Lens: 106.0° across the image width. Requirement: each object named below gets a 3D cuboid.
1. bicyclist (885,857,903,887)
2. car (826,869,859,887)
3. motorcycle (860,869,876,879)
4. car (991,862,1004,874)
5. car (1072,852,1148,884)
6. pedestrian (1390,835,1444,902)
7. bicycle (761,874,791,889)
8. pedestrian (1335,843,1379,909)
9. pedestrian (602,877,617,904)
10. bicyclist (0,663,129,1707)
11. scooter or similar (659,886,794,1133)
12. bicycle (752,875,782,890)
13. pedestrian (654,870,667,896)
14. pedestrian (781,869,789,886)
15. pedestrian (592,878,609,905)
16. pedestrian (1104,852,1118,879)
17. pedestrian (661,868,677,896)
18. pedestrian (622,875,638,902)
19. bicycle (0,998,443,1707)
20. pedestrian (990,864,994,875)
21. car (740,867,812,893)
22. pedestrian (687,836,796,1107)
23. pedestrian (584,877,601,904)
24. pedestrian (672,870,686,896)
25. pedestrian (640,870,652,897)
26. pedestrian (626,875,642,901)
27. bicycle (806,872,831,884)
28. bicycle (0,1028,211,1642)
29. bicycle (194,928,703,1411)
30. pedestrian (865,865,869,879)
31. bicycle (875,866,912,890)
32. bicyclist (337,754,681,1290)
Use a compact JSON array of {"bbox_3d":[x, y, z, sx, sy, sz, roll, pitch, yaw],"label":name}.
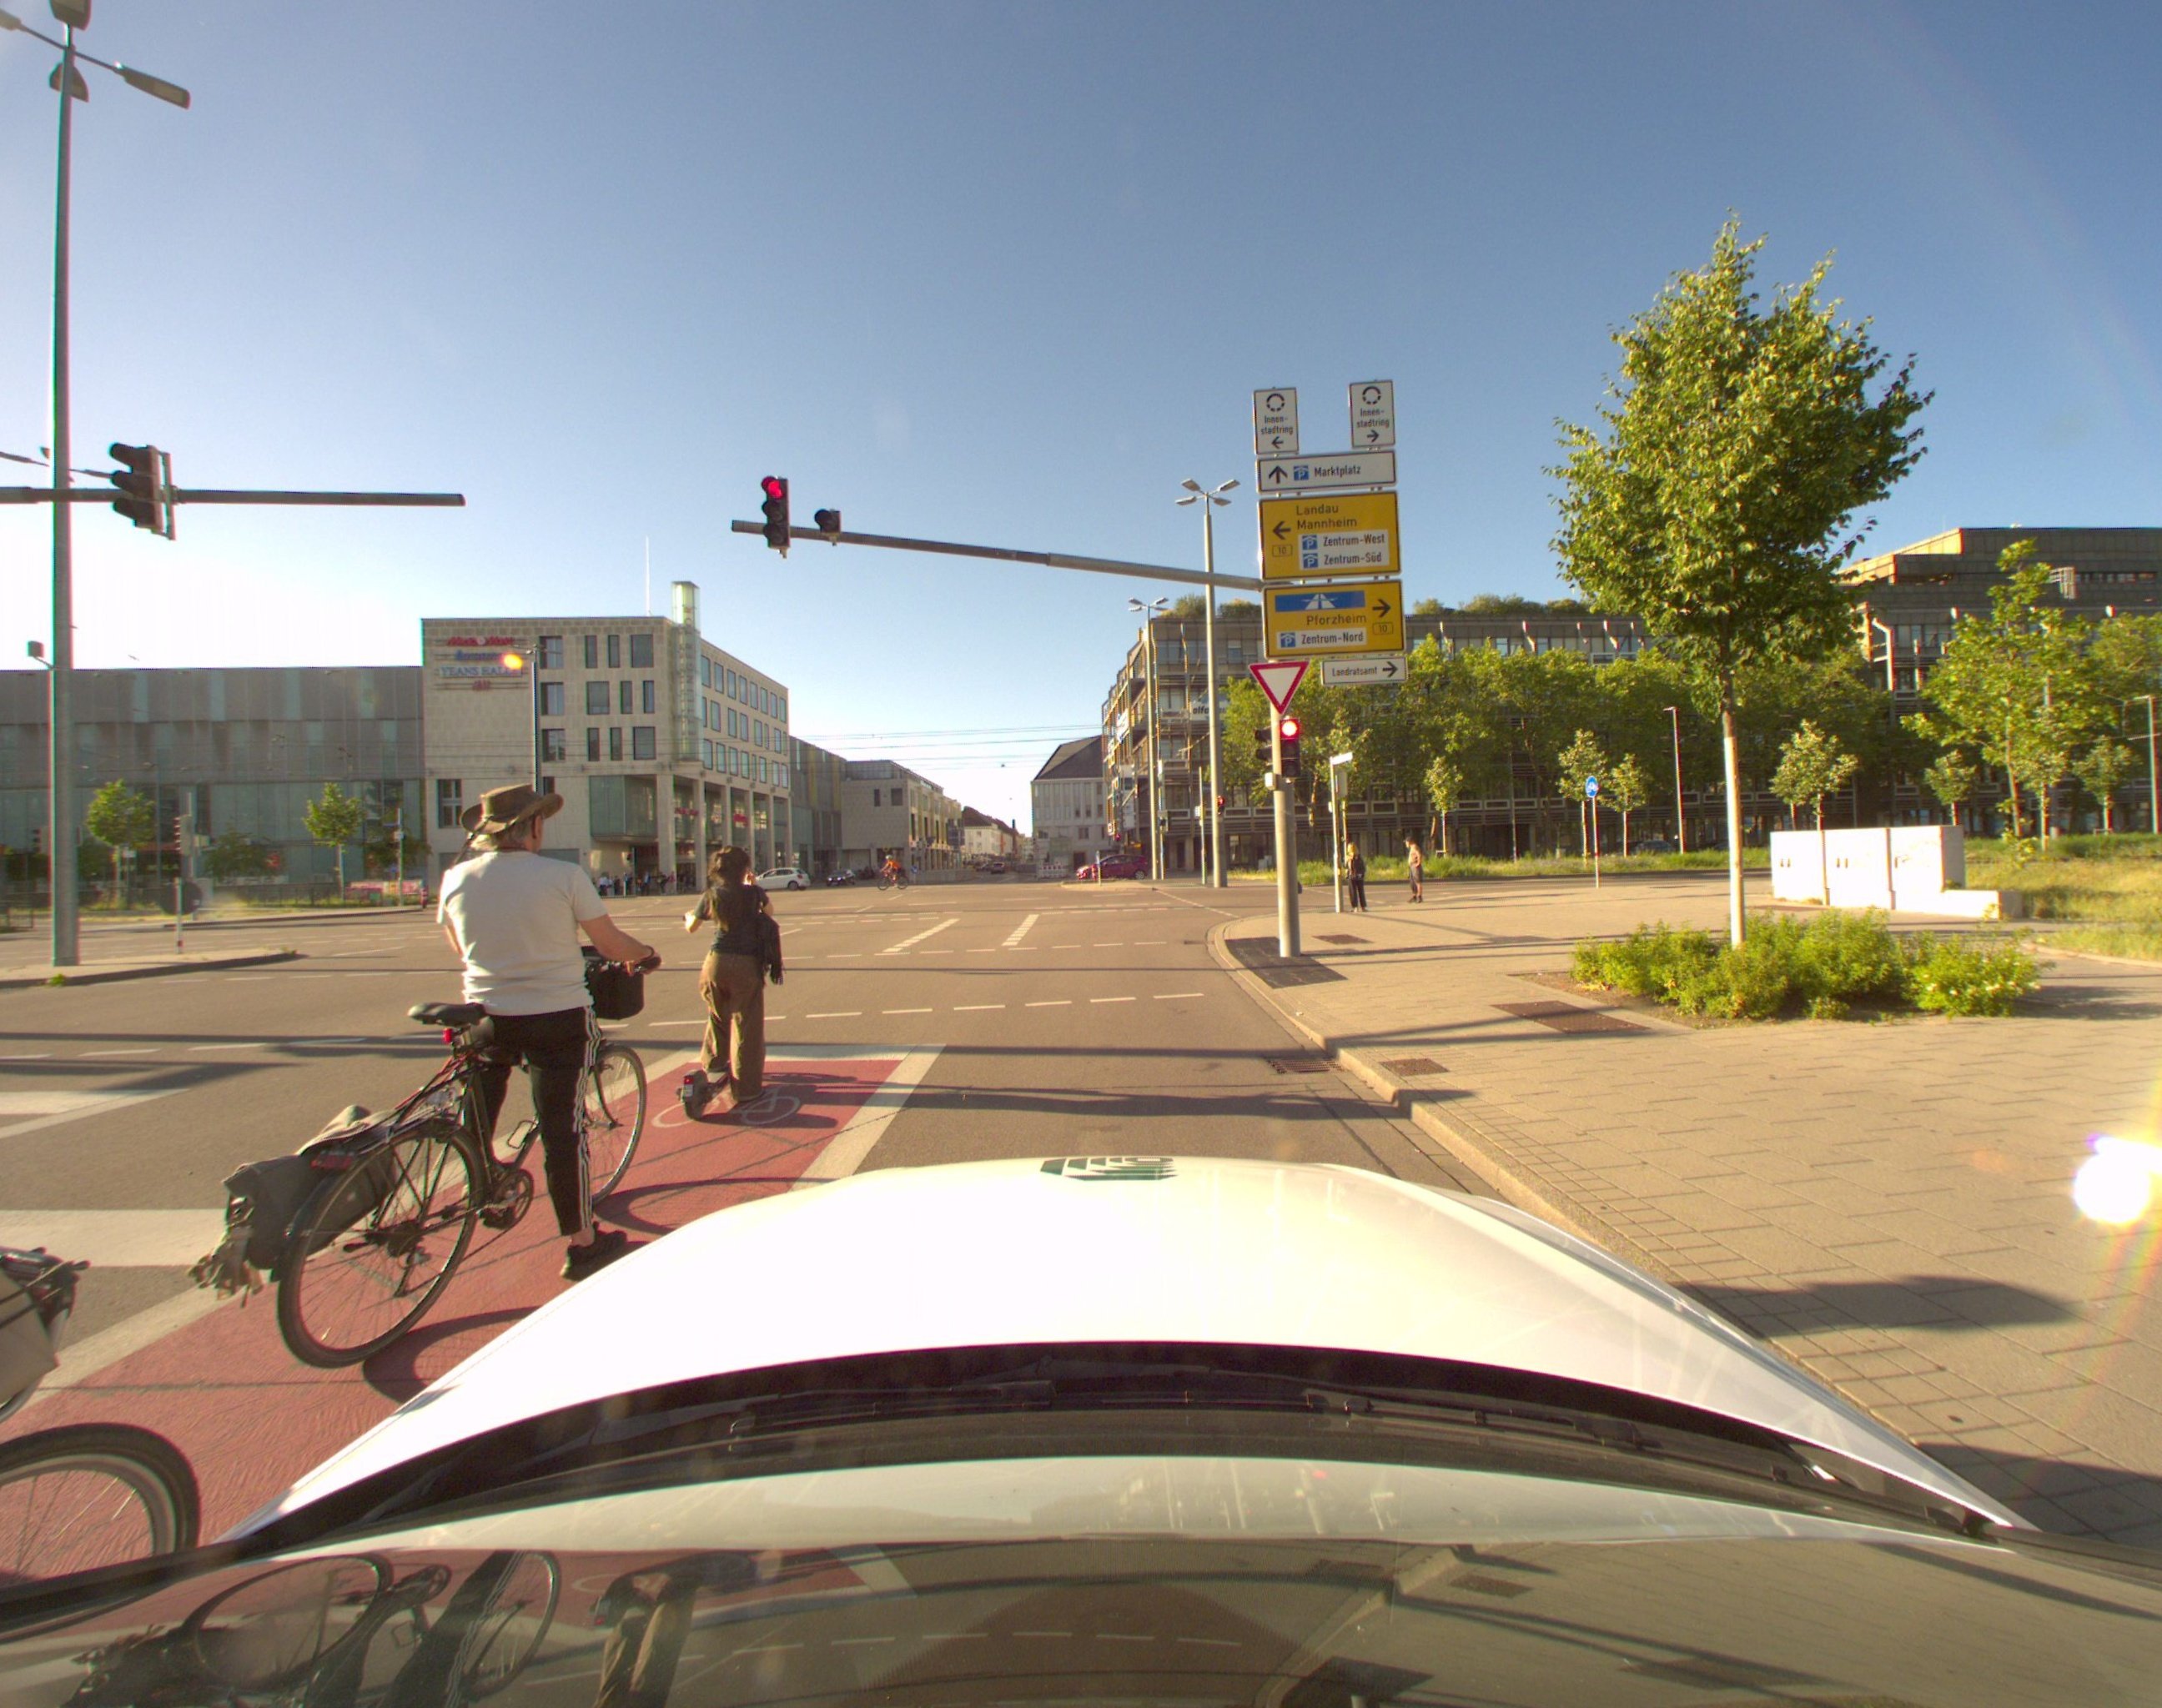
[{"bbox_3d":[-9.106,0.862,39.609,0.716,1.437,0.491,0,-1,-36],"label":"bicyclist"},{"bbox_3d":[-20.627,2.046,70.508,1.625,1.342,3.999,-4,-1,0],"label":"car"},{"bbox_3d":[-25.785,2.424,98.739,1.807,1.206,0.509,0,0,-14],"label":"motorcycle"},{"bbox_3d":[-11.141,1.849,108.656,1.735,1.531,3.848,0,-1,-5],"label":"car"},{"bbox_3d":[1.558,0.746,44.531,3.886,1.585,1.653,-2,-1,-11],"label":"car"},{"bbox_3d":[8.653,0.366,21.005,0.881,1.665,0.958,0,-1,-19],"label":"pedestrian"},{"bbox_3d":[-26.465,2.412,70.652,2.299,1.222,0.612,-2,0,-1],"label":"bicycle"},{"bbox_3d":[6.308,0.498,18.656,0.785,1.492,0.644,0,-1,1],"label":"pedestrian"},{"bbox_3d":[-33.994,2.622,58.720,0.714,1.885,0.786,0,-1,-6],"label":"pedestrian"},{"bbox_3d":[-1.600,0.565,0.652,0.639,1.579,0.875,0,0,-1],"label":"bicyclist"},{"bbox_3d":[-2.158,0.871,5.076,0.547,1.294,1.188,0,-1,-13],"label":"scooter or similar"},{"bbox_3d":[-26.736,2.403,69.375,2.299,1.222,0.612,-2,0,-1],"label":"bicycle"},{"bbox_3d":[-30.795,2.115,59.666,0.800,1.843,0.856,-2,0,-26],"label":"pedestrian"},{"bbox_3d":[-29.612,2.331,81.514,0.650,1.719,0.447,-2,0,-22],"label":"pedestrian"},{"bbox_3d":[-33.871,2.610,57.374,0.783,1.885,0.716,0,-1,-4],"label":"pedestrian"},{"bbox_3d":[2.140,0.817,58.498,0.636,1.890,0.795,-1,-1,38],"label":"pedestrian"},{"bbox_3d":[-30.756,2.074,60.815,0.883,2.014,0.771,0,-1,-9],"label":"pedestrian"},{"bbox_3d":[-31.949,2.448,57.692,0.783,1.885,0.716,0,-1,-4],"label":"pedestrian"},{"bbox_3d":[-1.595,0.906,0.728,0.614,1.218,1.831,0,0,-1],"label":"bicycle"},{"bbox_3d":[-12.805,2.232,117.286,0.520,1.679,0.582,0,0,-5],"label":"pedestrian"},{"bbox_3d":[-18.950,1.612,50.775,3.892,1.585,1.656,0,-1,-5],"label":"car"},{"bbox_3d":[-2.164,0.706,5.244,0.549,1.633,0.569,0,-1,-13],"label":"pedestrian"},{"bbox_3d":[-35.014,2.595,58.351,0.783,1.885,0.716,0,-1,-4],"label":"pedestrian"},{"bbox_3d":[-29.108,2.063,58.940,0.801,1.843,0.855,-2,0,-30],"label":"pedestrian"},{"bbox_3d":[-31.105,2.095,58.191,0.718,1.885,0.781,0,-1,-25],"label":"pedestrian"},{"bbox_3d":[-32.515,2.465,59.244,0.783,1.885,0.716,0,-1,-4],"label":"pedestrian"},{"bbox_3d":[-27.591,2.542,85.582,2.299,1.222,0.612,-2,0,-1],"label":"bicycle"},{"bbox_3d":[-2.423,0.982,0.981,0.645,1.109,1.970,0,0,-1],"label":"bicycle"},{"bbox_3d":[-2.149,0.943,3.139,0.483,1.156,1.832,0,-1,2],"label":"bicycle"},{"bbox_3d":[-26.105,2.185,99.356,0.521,1.679,0.580,0,0,-12],"label":"pedestrian"},{"bbox_3d":[-9.113,1.146,39.606,1.657,1.154,0.491,0,-1,-36],"label":"bicycle"},{"bbox_3d":[-2.057,0.543,3.062,0.658,1.720,0.866,0,-1,1],"label":"bicyclist"}]
